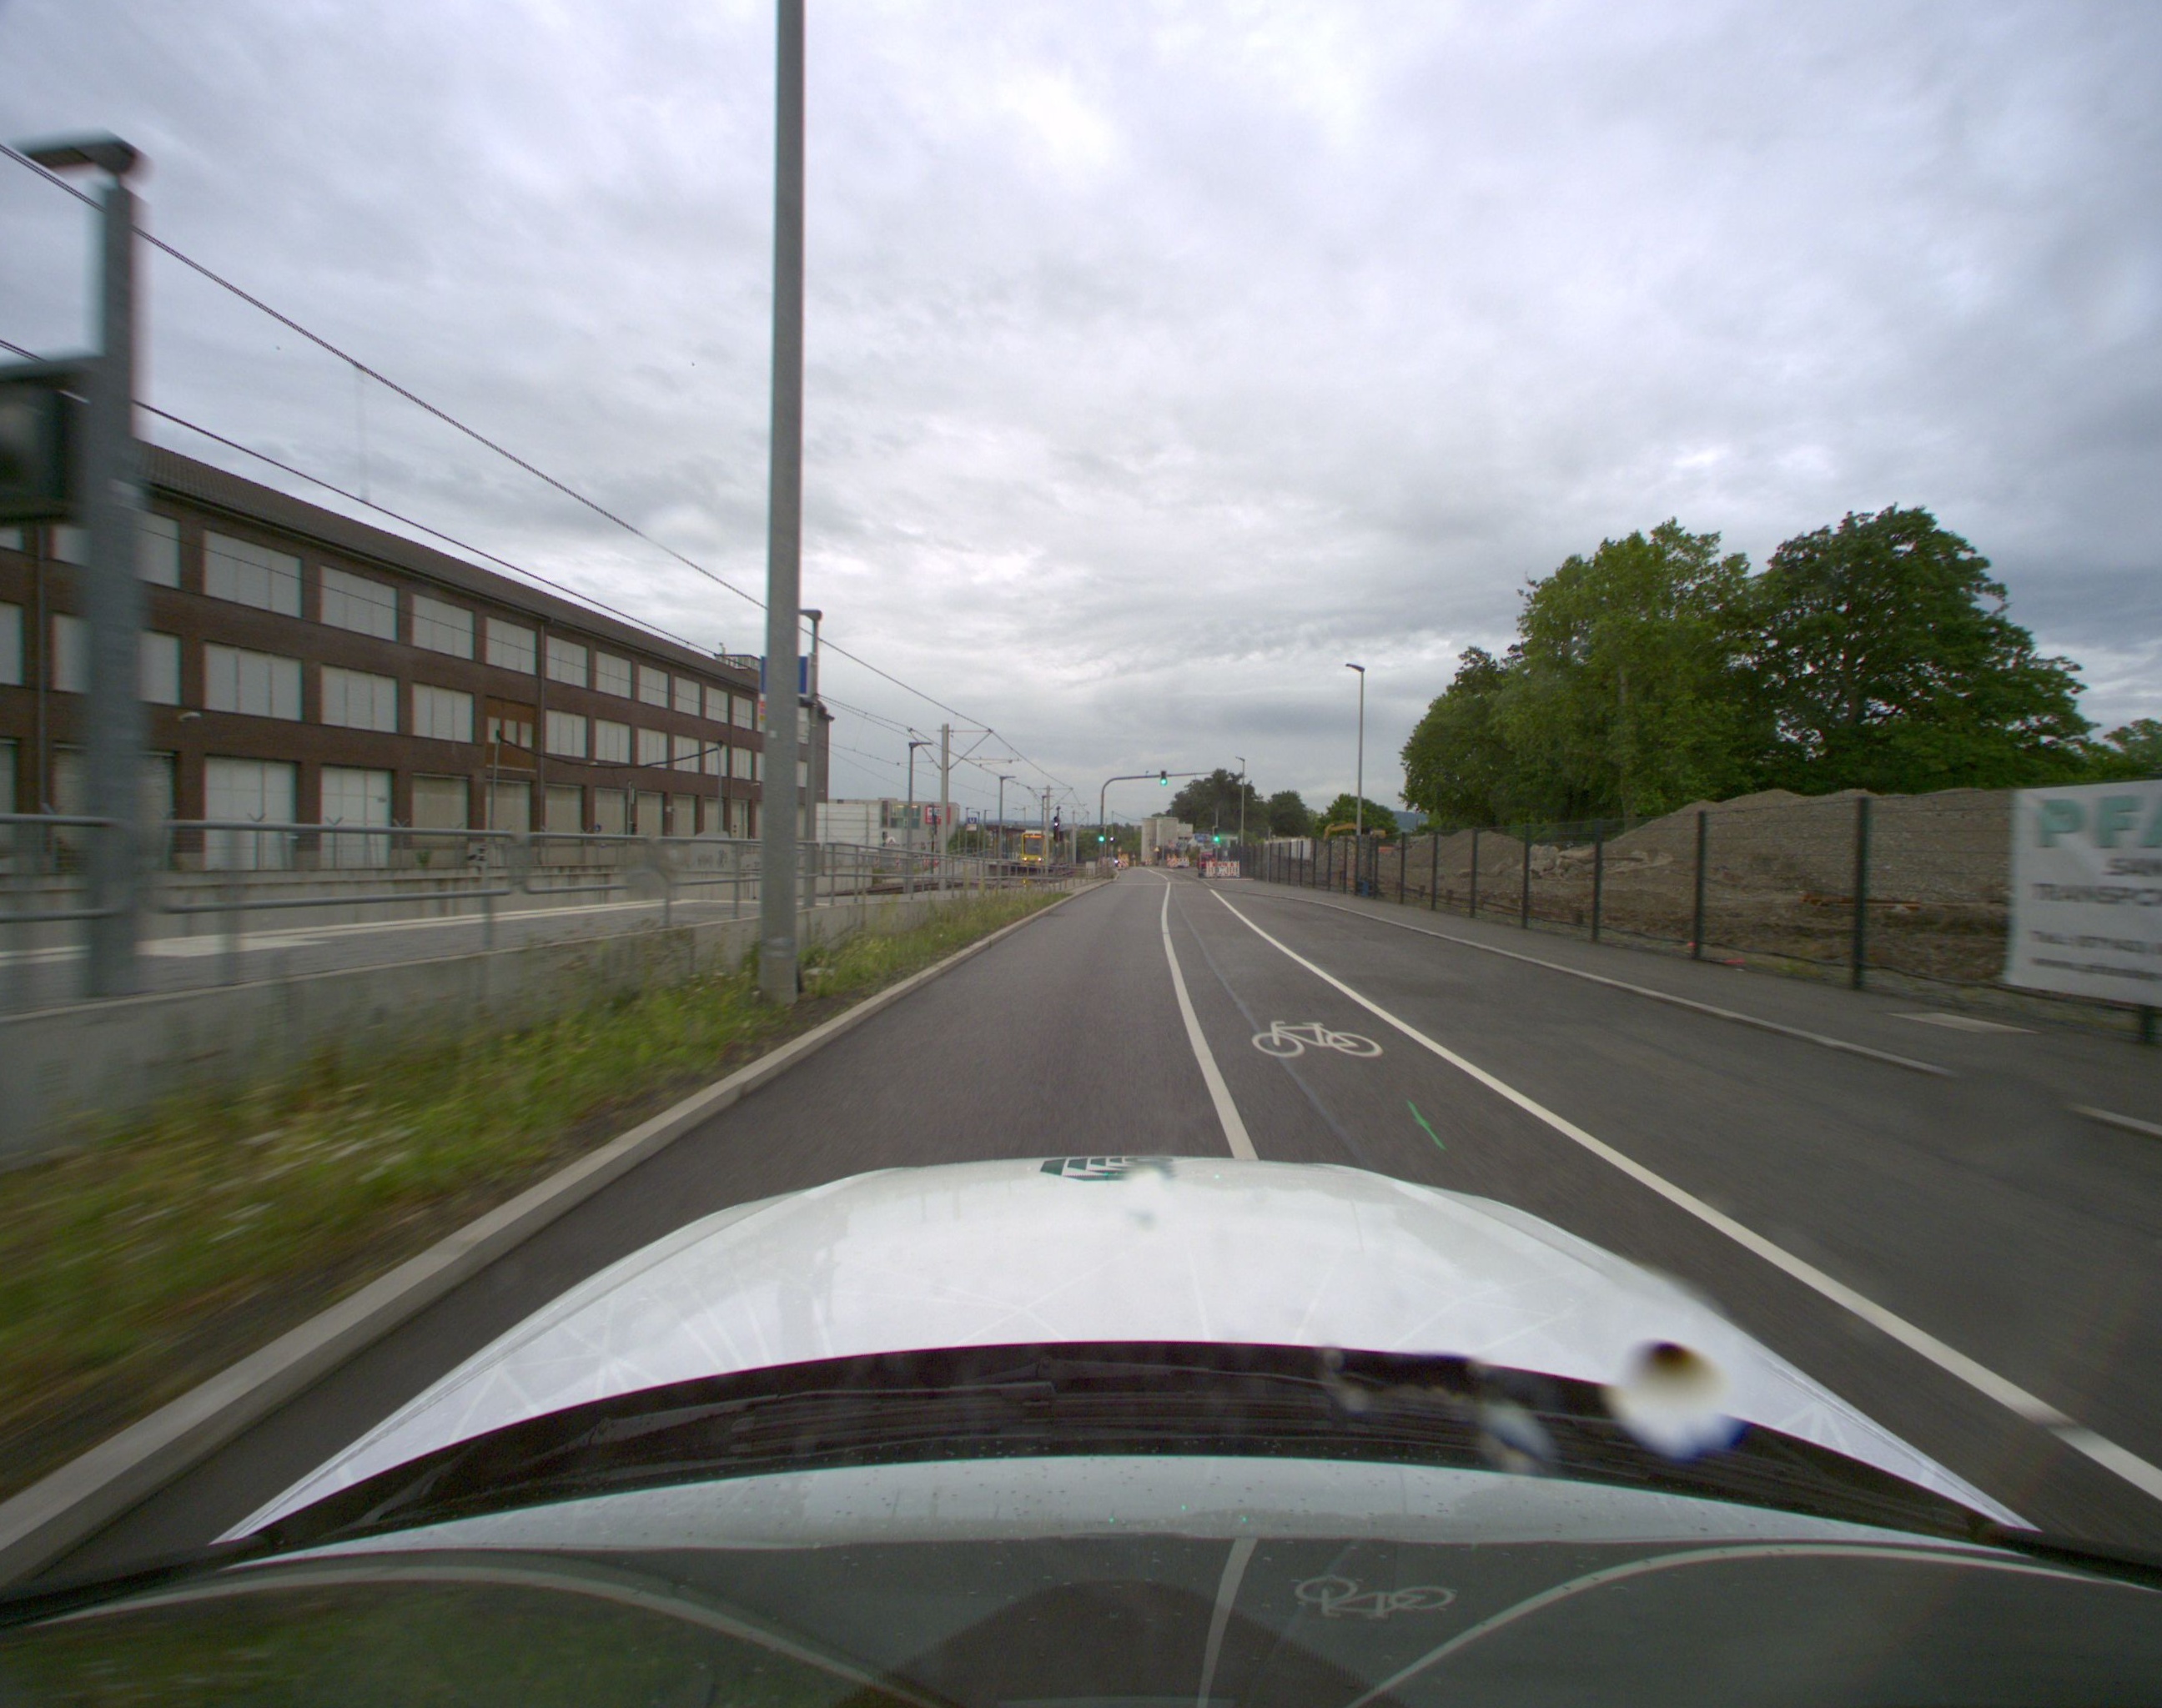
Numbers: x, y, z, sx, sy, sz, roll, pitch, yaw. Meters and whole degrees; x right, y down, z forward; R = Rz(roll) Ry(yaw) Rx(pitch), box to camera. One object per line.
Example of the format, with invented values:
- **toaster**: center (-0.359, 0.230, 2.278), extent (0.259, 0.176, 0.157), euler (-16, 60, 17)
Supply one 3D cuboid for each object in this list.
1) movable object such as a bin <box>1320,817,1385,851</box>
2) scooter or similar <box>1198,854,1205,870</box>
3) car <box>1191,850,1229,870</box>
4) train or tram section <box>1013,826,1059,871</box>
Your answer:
- **movable object such as a bin**: center (50.301, -3.657, 151.292), extent (11.161, 5.995, 3.501), euler (0, -1, 10)
- **scooter or similar**: center (10.421, 0.716, 70.538), extent (0.611, 1.351, 1.917), euler (0, 0, 9)
- **car**: center (12.085, 0.577, 76.014), extent (1.802, 1.794, 4.437), euler (0, 0, 33)
- **train or tram section**: center (-4.200, -0.502, 81.861), extent (2.944, 3.886, 19.578), euler (1, 0, 2)
